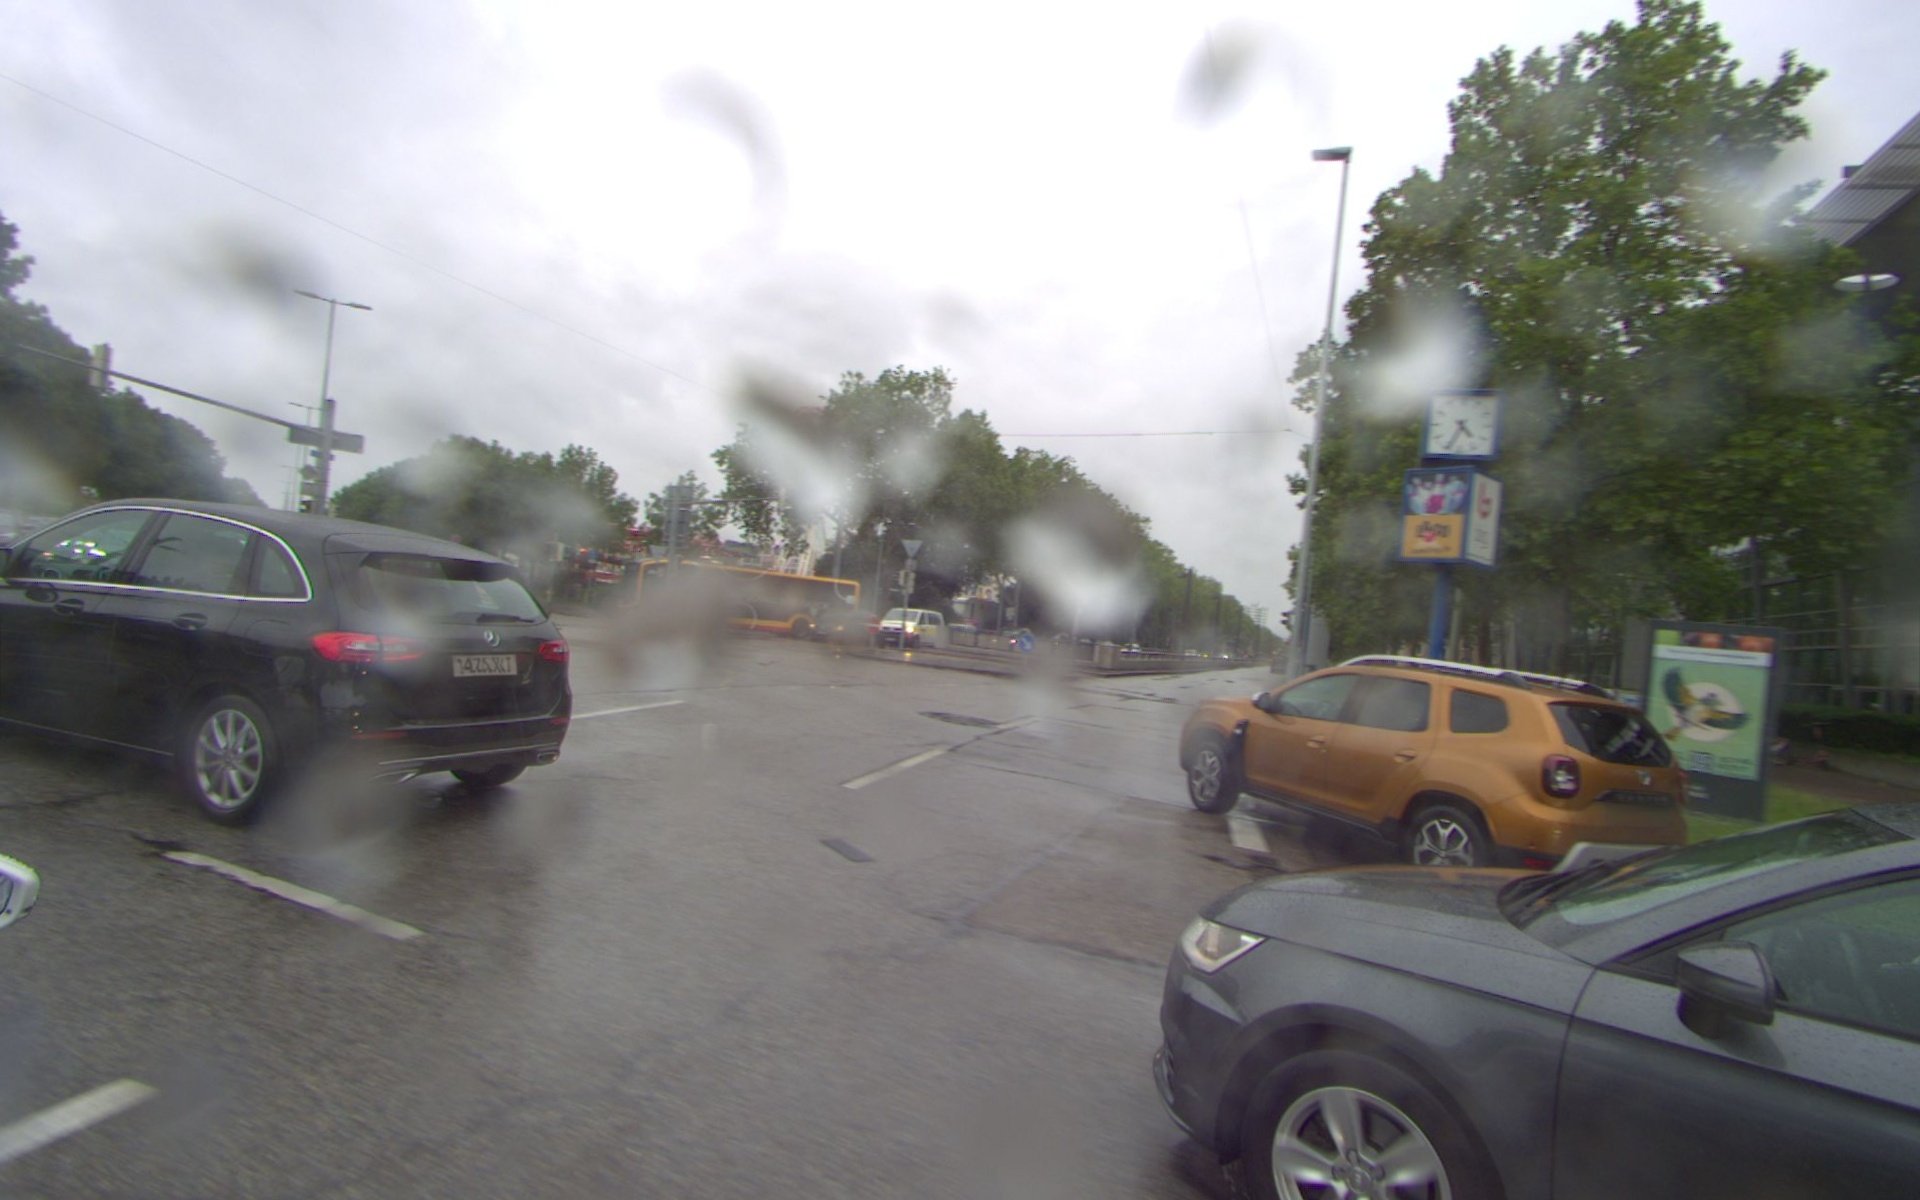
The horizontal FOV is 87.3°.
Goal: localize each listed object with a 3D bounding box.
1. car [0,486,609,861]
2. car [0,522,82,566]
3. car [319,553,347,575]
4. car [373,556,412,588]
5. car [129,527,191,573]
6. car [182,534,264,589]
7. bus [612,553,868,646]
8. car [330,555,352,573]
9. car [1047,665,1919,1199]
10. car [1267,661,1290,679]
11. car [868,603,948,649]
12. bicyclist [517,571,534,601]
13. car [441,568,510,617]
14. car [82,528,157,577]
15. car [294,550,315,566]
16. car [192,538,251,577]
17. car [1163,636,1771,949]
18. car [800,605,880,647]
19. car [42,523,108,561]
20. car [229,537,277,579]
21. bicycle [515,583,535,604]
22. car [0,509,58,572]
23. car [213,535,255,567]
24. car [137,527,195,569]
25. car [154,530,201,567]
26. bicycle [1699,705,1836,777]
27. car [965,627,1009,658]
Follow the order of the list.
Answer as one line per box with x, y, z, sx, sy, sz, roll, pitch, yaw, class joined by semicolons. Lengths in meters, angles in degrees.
-4.445;0.257;6.067;4.011;1.542;1.876;6;-1;20;car
-35.043;-2.153;38.448;1.817;1.374;3.960;7;-1;-37;car
-55.609;-3.232;89.209;1.832;1.636;3.965;9;-2;-34;car
-35.482;-1.778;62.877;1.624;1.674;3.452;9;-2;-35;car
-35.278;-2.230;44.436;1.854;1.741;3.961;7;-1;-36;car
-28.059;-1.500;38.434;2.155;1.741;4.266;7;-1;-33;car
-10.776;0.081;50.673;12.182;3.308;3.242;7;-1;-37;bus
-68.495;-3.981;111.308;1.982;1.638;3.967;6;-1;-32;car
2.287;1.131;2.309;3.703;1.414;1.834;6;-2;43;car
32.418;7.077;102.291;1.808;1.571;4.000;6;-1;21;car
-2.402;1.270;47.799;2.039;1.871;4.748;6;-1;18;car
-28.723;-0.946;66.514;0.762;1.905;0.616;5;0;-34;bicyclist
-18.334;-0.324;38.005;1.669;1.508;3.588;8;-2;-35;car
-29.545;-1.687;35.351;1.820;1.374;3.955;7;-1;-41;car
-81.645;-5.219;125.269;1.985;1.638;3.962;6;-1;-35;car
-32.138;-1.870;43.873;1.827;1.441;3.964;7;-1;-34;car
3.751;1.331;8.353;1.881;1.652;4.147;6;-1;-24;car
-5.535;1.254;47.032;1.897;1.671;4.343;6;-1;18;car
-38.970;-2.560;44.372;1.818;1.374;3.959;7;-1;-38;car
-33.859;-2.026;48.150;1.592;1.741;3.959;6;-1;-38;car
-28.763;-0.437;66.507;0.813;1.179;2.241;6;-1;-33;bicycle
-28.026;-1.806;29.136;2.008;1.677;4.028;7;-1;-32;car
-45.777;-3.099;63.426;1.928;1.741;3.959;7;-1;-38;car
-38.987;-2.562;49.469;1.834;1.741;3.963;7;-1;-35;car
-41.607;-2.755;53.526;1.644;1.741;3.962;6;-1;-35;car
21.303;3.704;26.637;0.796;1.459;2.658;8;-2;-24;bicycle
1.917;2.969;70.349;2.038;1.871;4.750;6;-1;12;car
